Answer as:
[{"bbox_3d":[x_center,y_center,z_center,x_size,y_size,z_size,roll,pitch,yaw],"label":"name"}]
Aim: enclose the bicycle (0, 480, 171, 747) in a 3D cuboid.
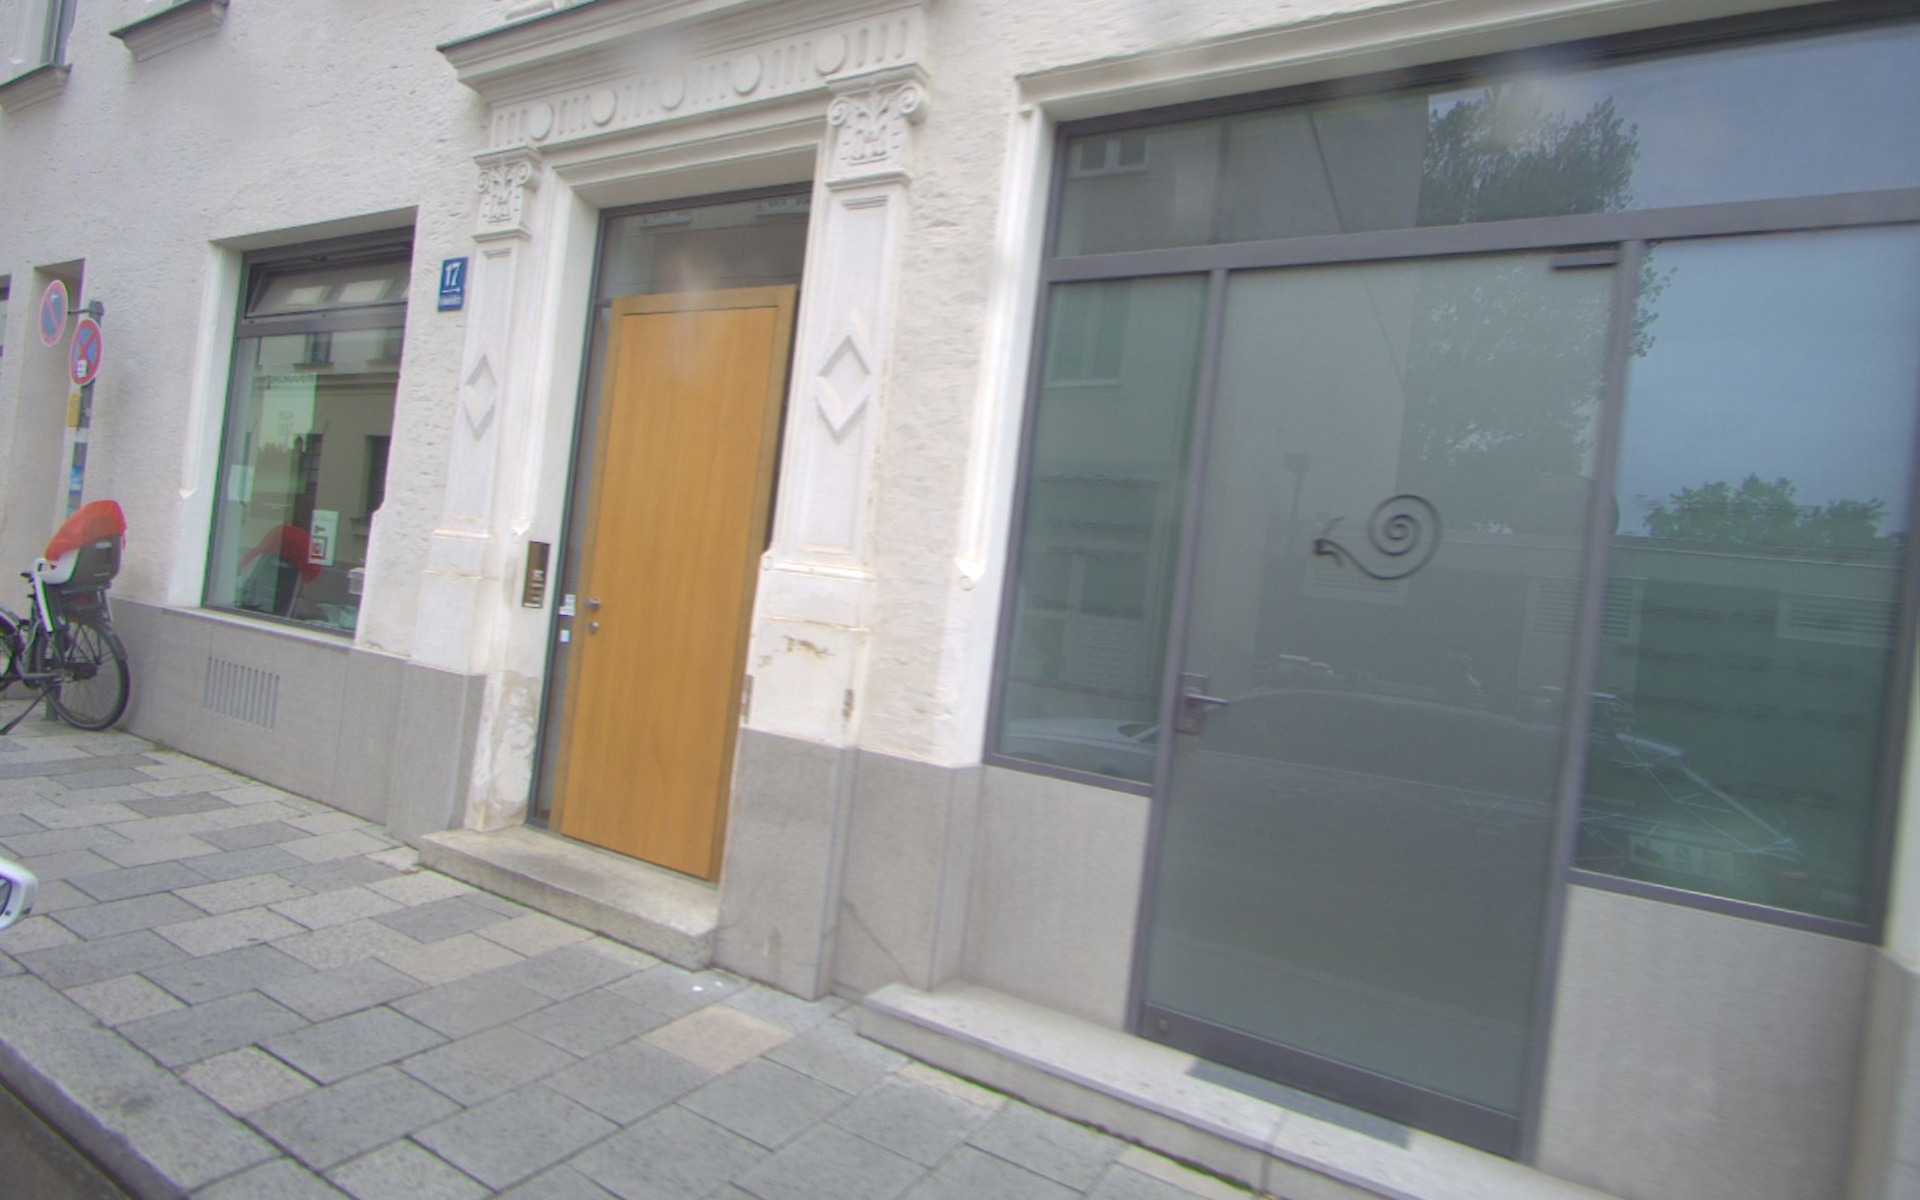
[{"bbox_3d":[-5.748,-0.007,6.171,2.087,1.414,0.713,7,2,33],"label":"bicycle"}]
